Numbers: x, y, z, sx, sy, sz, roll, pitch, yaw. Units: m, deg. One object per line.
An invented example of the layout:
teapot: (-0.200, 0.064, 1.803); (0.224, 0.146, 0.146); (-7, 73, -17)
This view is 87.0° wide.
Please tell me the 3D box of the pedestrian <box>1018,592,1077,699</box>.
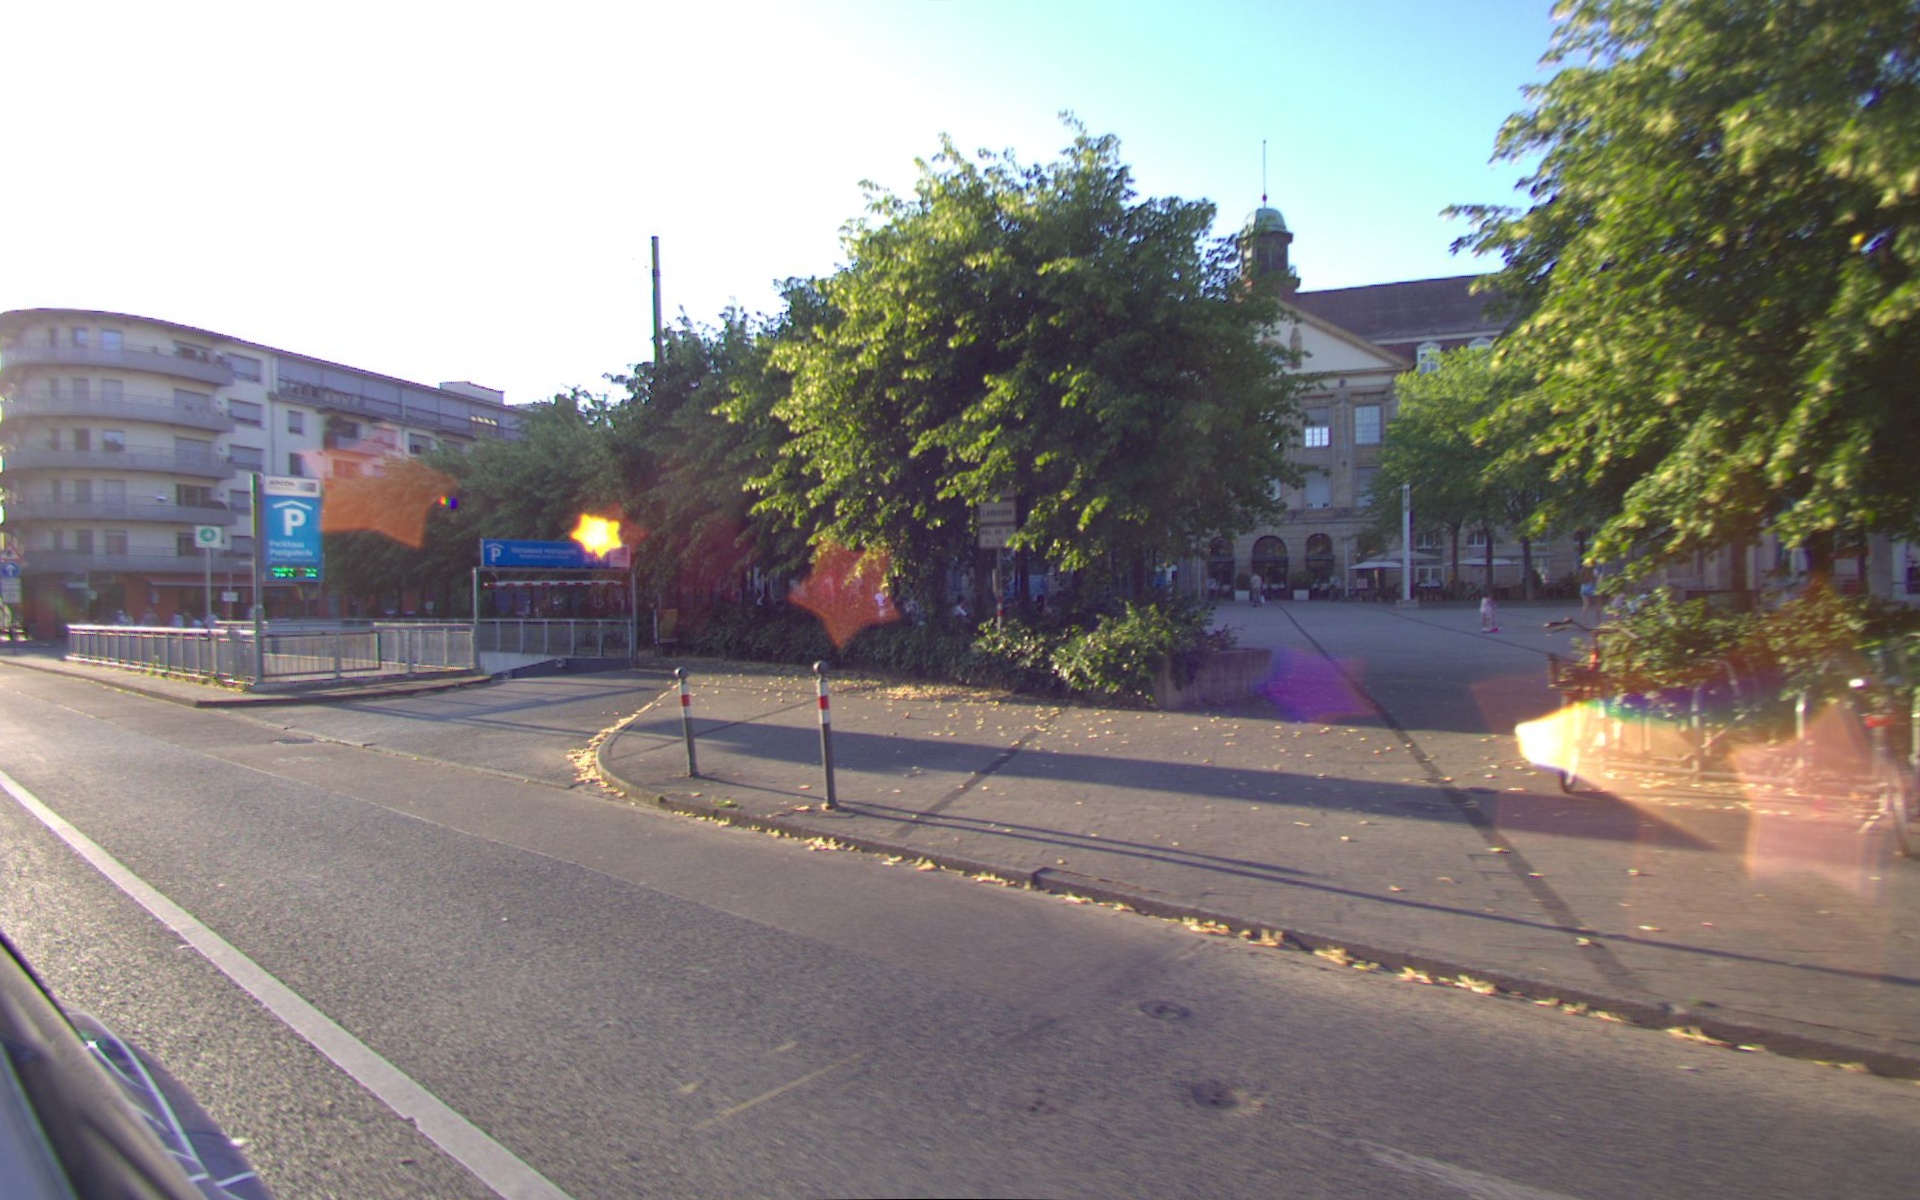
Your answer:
pedestrian: (1.657, 0.837, 19.145); (0.791, 1.963, 0.732); (-1, 0, -36)

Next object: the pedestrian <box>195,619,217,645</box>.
pedestrian: (-44.882, 1.901, 60.235); (0.845, 1.547, 0.677); (-3, -1, 14)

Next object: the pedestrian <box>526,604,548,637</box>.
pedestrian: (-23.425, 1.112, 56.033); (0.756, 1.795, 0.793); (-1, 0, 18)

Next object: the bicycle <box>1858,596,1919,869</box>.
bicycle: (5.573, 0.644, 5.774); (0.517, 1.246, 2.407); (-2, 1, 39)

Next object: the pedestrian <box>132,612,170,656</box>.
pedestrian: (-35.562, 1.492, 44.485); (0.977, 1.898, 0.884); (-3, -1, 19)

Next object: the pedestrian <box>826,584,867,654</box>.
pedestrian: (-3.402, 0.569, 30.174); (0.899, 2.029, 0.922); (-2, 0, -26)

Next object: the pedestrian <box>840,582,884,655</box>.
pedestrian: (-2.786, 0.512, 28.746); (0.899, 2.029, 0.922); (-2, 0, -26)

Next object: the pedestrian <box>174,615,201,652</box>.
pedestrian: (-40.731, 1.760, 53.353); (0.707, 1.891, 0.849); (-2, -1, 10)

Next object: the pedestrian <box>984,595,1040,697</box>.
pedestrian: (1.033, 0.886, 20.102); (0.791, 1.963, 0.732); (-1, 0, -36)

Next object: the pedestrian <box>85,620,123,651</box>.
pedestrian: (-46.493, 1.908, 54.973); (0.712, 1.538, 0.686); (0, -33, 30)

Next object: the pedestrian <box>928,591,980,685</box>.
pedestrian: (-0.125, 0.808, 21.766); (0.791, 1.963, 0.732); (-1, 0, -36)

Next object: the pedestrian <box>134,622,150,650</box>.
pedestrian: (-46.477, 2.030, 57.484); (0.638, 1.547, 0.754); (-1, -1, -41)

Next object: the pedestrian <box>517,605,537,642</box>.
pedestrian: (-20.856, 1.132, 48.752); (0.676, 1.759, 0.718); (-2, -1, -12)

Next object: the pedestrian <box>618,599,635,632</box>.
pedestrian: (-16.021, 0.729, 48.612); (0.668, 1.554, 0.594); (-2, -1, -27)

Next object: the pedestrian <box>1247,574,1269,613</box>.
pedestrian: (15.056, -0.318, 51.184); (0.731, 1.963, 0.793); (-2, 0, 44)

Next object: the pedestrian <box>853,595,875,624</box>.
pedestrian: (-4.746, 0.467, 50.024); (0.730, 1.390, 1.262); (-1, 0, 13)

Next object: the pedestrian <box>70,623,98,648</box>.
pedestrian: (-46.950, 1.885, 54.236); (0.675, 1.291, 0.970); (-1, 1, -8)

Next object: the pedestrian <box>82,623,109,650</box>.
pedestrian: (-46.170, 1.929, 54.076); (0.758, 1.392, 0.841); (-1, 0, -9)

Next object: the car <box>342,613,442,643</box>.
car: (-30.682, 1.506, 54.716); (4.402, 1.441, 2.099); (-3, -1, 11)

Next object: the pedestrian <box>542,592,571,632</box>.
pedestrian: (-19.553, 0.596, 49.045); (0.880, 1.867, 0.982); (-3, -1, 11)

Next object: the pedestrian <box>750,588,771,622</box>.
pedestrian: (-10.272, 0.265, 52.190); (0.696, 1.740, 0.916); (-2, -1, 15)

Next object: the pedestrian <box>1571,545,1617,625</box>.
pedestrian: (15.731, -0.366, 25.128); (0.792, 1.963, 0.731); (-1, 0, -41)

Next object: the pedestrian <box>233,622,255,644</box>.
pedestrian: (-43.747, 2.011, 61.815); (0.877, 1.315, 0.842); (0, 1, 36)

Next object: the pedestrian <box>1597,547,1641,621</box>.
pedestrian: (17.828, -0.419, 27.393); (0.680, 1.963, 0.802); (-1, 0, 11)

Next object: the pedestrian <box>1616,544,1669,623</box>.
pedestrian: (17.463, -0.411, 25.908); (0.794, 1.963, 0.730); (-1, 0, 1)

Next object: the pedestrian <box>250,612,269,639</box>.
pedestrian: (-45.451, 1.651, 65.656); (0.712, 1.733, 0.665); (-2, -1, 16)

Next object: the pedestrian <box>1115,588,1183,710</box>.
pedestrian: (3.149, 0.795, 16.909); (0.791, 1.963, 0.732); (-1, 0, -36)

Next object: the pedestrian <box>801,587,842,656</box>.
pedestrian: (-4.166, 0.641, 30.434); (0.899, 2.029, 0.922); (-2, 0, -26)

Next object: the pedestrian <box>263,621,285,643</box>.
pedestrian: (-43.306, 2.010, 63.890); (0.840, 1.287, 0.715); (-1, 2, -5)

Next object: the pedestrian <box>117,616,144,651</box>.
pedestrian: (-43.675, 1.778, 53.283); (0.806, 1.807, 0.732); (-3, -1, 19)

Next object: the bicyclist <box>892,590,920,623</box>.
bicyclist: (-2.487, 0.310, 46.828); (0.740, 1.521, 1.386); (-1, -1, -29)

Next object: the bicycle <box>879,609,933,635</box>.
bicycle: (-2.478, 0.999, 46.744); (2.289, 1.110, 0.954); (-1, 0, -31)

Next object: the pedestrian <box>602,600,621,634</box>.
pedestrian: (-16.632, 0.810, 48.360); (0.785, 1.594, 0.733); (-2, -1, -18)

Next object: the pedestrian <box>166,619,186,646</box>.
pedestrian: (-45.648, 1.894, 58.946); (0.669, 1.547, 0.651); (1, 0, 14)

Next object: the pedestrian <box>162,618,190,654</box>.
pedestrian: (-40.771, 1.850, 52.601); (0.708, 1.816, 0.877); (-3, -1, 18)

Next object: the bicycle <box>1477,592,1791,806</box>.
bicycle: (4.932, 0.625, 7.348); (2.468, 1.293, 0.818); (-2, 0, -29)

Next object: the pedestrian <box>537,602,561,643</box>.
pedestrian: (-19.541, 1.069, 48.133); (0.714, 1.889, 0.771); (-3, -1, 39)

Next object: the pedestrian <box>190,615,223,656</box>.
pedestrian: (-34.599, 1.623, 46.475); (0.968, 1.807, 0.893); (-2, -1, -21)

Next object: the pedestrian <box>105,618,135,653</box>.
pedestrian: (-44.643, 1.891, 53.785); (0.845, 1.807, 0.864); (-3, -1, 19)

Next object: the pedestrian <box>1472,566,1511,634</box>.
pedestrian: (12.891, -0.007, 24.564); (0.519, 1.623, 0.804); (-2, 0, 2)
